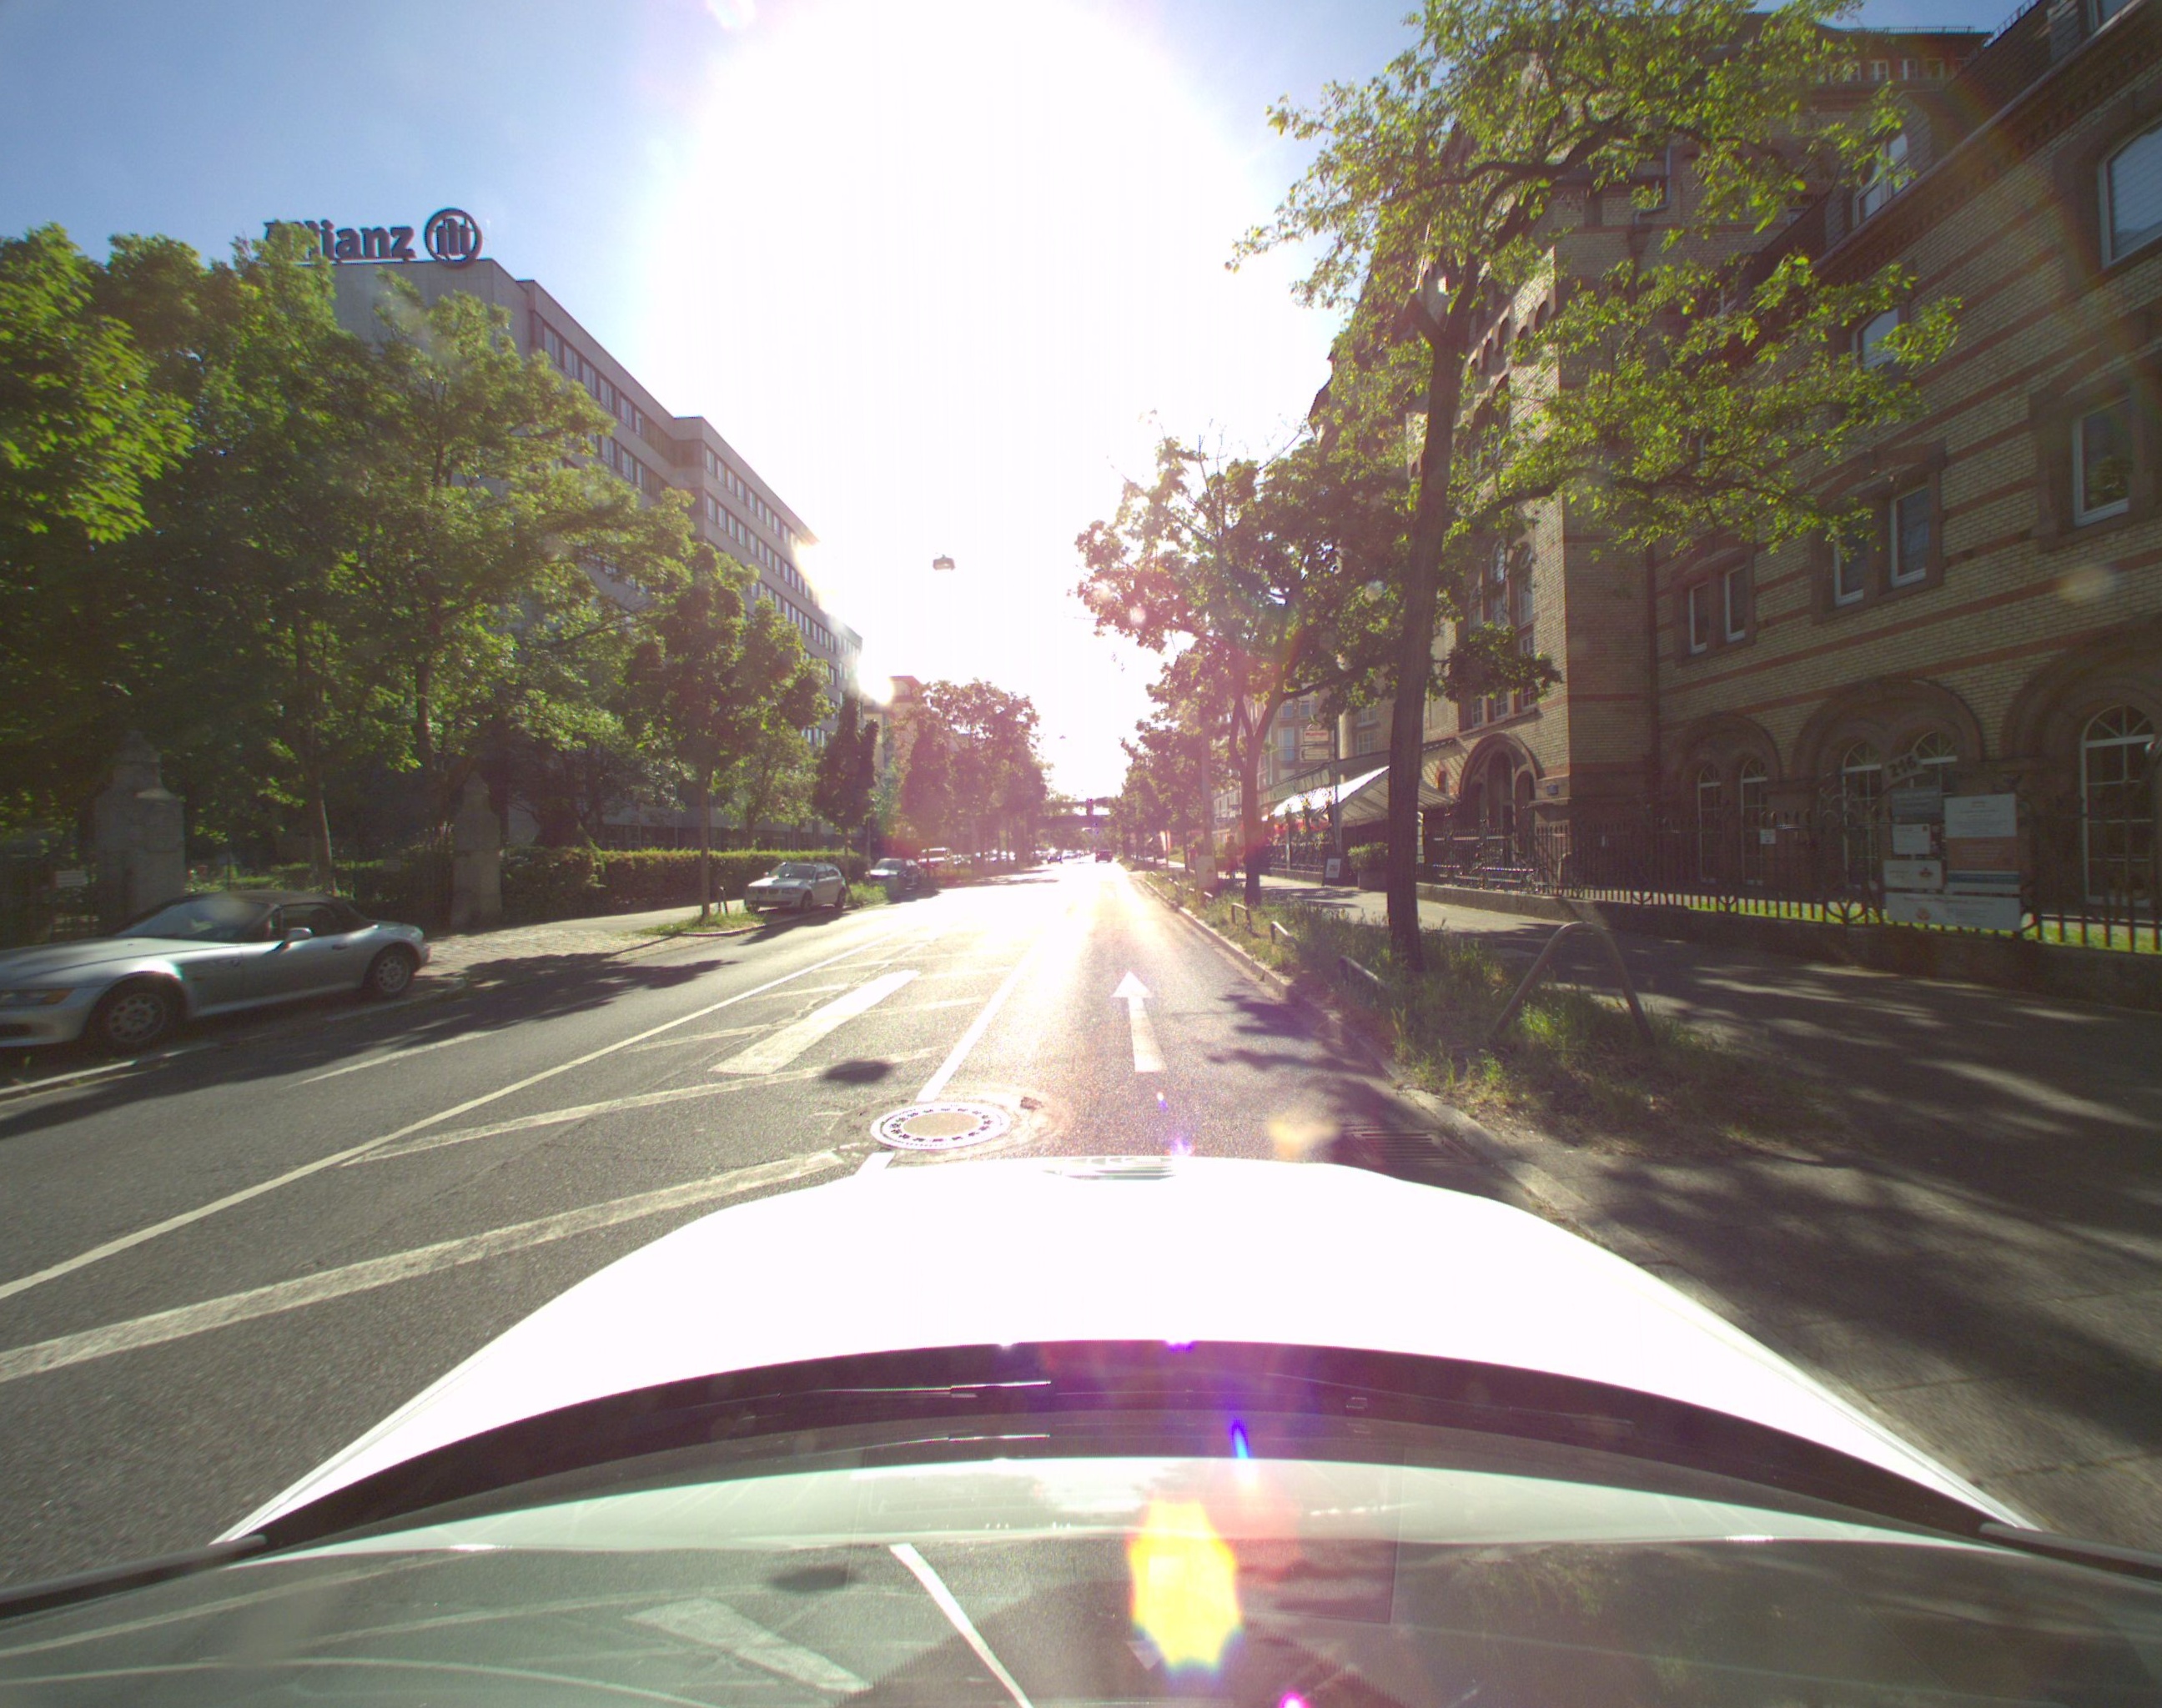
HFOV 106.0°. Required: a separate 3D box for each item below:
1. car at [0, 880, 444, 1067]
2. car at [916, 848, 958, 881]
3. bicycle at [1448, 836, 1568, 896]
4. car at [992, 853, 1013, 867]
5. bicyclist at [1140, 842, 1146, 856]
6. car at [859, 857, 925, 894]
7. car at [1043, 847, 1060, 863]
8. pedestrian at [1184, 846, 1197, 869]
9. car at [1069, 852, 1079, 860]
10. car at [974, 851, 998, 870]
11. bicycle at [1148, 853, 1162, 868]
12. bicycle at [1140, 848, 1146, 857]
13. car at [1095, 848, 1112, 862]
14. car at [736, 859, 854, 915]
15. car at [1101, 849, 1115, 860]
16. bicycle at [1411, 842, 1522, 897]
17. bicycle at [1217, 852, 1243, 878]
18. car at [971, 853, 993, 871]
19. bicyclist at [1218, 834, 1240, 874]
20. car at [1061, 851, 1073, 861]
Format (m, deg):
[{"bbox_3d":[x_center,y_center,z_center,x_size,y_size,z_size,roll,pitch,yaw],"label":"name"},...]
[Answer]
[{"bbox_3d":[-8.823,0.966,8.122,1.672,1.255,4.017,-1,0,2],"label":"car"},{"bbox_3d":[-9.947,0.679,56.578,1.975,2.076,5.194,-3,0,-1],"label":"car"},{"bbox_3d":[8.943,0.252,17.087,2.192,1.178,0.686,-1,-1,-5],"label":"bicycle"},{"bbox_3d":[-8.862,0.641,91.857,1.848,1.568,3.873,-1,0,2],"label":"car"},{"bbox_3d":[7.477,-0.625,98.474,0.665,1.695,0.889,-1,-1,1],"label":"bicyclist"},{"bbox_3d":[-8.132,0.885,35.376,1.705,1.458,4.075,-1,0,3],"label":"car"},{"bbox_3d":[-3.606,0.074,101.588,1.850,1.825,4.610,-3,0,0],"label":"car"},{"bbox_3d":[7.629,0.245,56.782,0.652,1.604,0.602,-4,-1,-5],"label":"pedestrian"},{"bbox_3d":[-1.364,0.344,166.441,1.849,1.439,4.319,-3,0,0],"label":"car"},{"bbox_3d":[-9.750,0.669,83.868,1.849,1.850,4.562,-1,0,0],"label":"car"},{"bbox_3d":[5.501,0.505,60.370,0.586,1.066,2.032,-1,0,18],"label":"bicycle"},{"bbox_3d":[7.484,-0.149,98.491,0.587,1.027,1.860,-1,-1,1],"label":"bicycle"},{"bbox_3d":[2.727,0.092,100.773,1.978,1.600,4.140,-1,0,0],"label":"car"},{"bbox_3d":[-8.327,0.901,24.120,1.681,1.383,4.196,2,0,4],"label":"car"},{"bbox_3d":[3.898,0.126,116.296,1.848,1.523,4.322,-1,0,3],"label":"car"},{"bbox_3d":[8.648,0.344,18.304,2.192,1.178,0.686,-1,-1,-5],"label":"bicycle"},{"bbox_3d":[6.096,0.441,33.481,0.683,1.027,2.096,-1,-1,1],"label":"bicycle"},{"bbox_3d":[-9.422,0.746,77.900,1.852,1.684,4.658,-1,0,-4],"label":"car"},{"bbox_3d":[6.089,0.001,33.495,0.698,1.599,0.955,-1,-1,0],"label":"bicyclist"},{"bbox_3d":[-2.336,0.333,135.677,1.849,1.568,4.716,-3,0,1],"label":"car"}]
